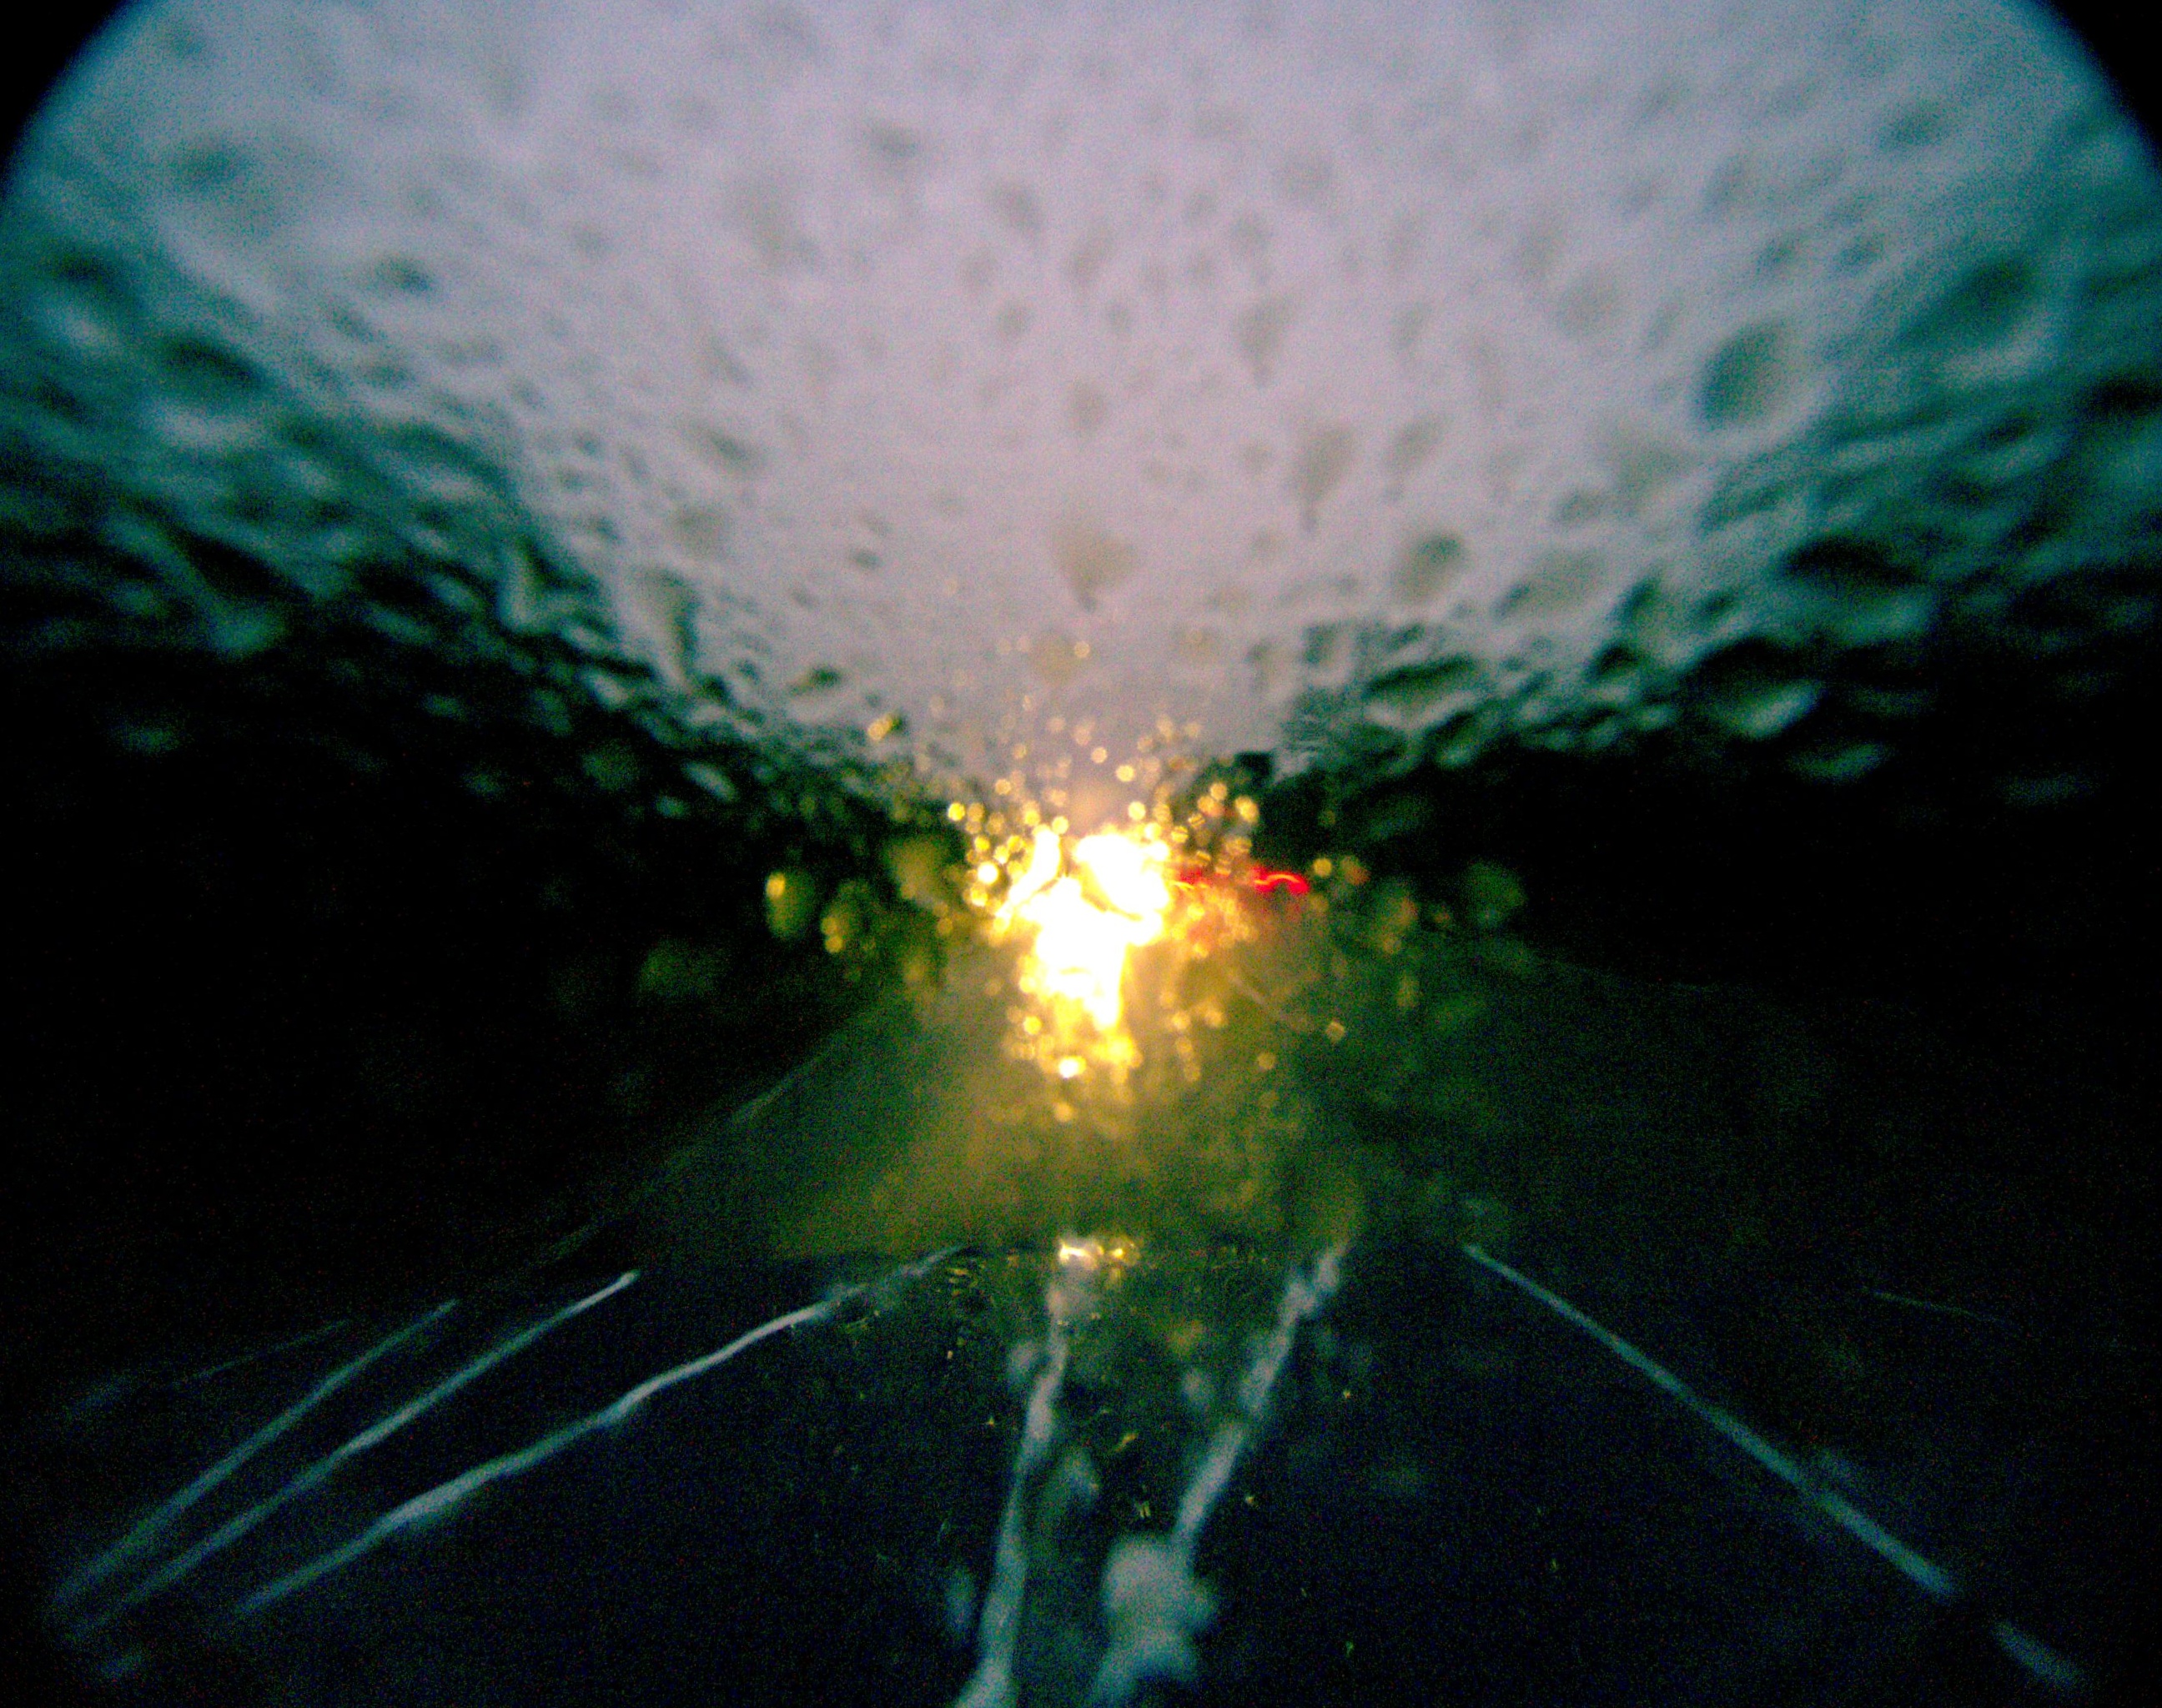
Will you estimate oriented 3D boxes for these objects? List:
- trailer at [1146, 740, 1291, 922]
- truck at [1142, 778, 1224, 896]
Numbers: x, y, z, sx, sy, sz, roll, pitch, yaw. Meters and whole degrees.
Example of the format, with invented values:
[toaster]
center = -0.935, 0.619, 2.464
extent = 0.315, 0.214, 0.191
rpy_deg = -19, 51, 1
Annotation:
[trailer]
center = 3.944, -0.607, 24.987
extent = 2.677, 4.432, 12.241
rpy_deg = -2, 0, 1
[truck]
center = 4.119, -0.666, 31.811
extent = 2.648, 4.390, 5.553
rpy_deg = -2, 1, 1
